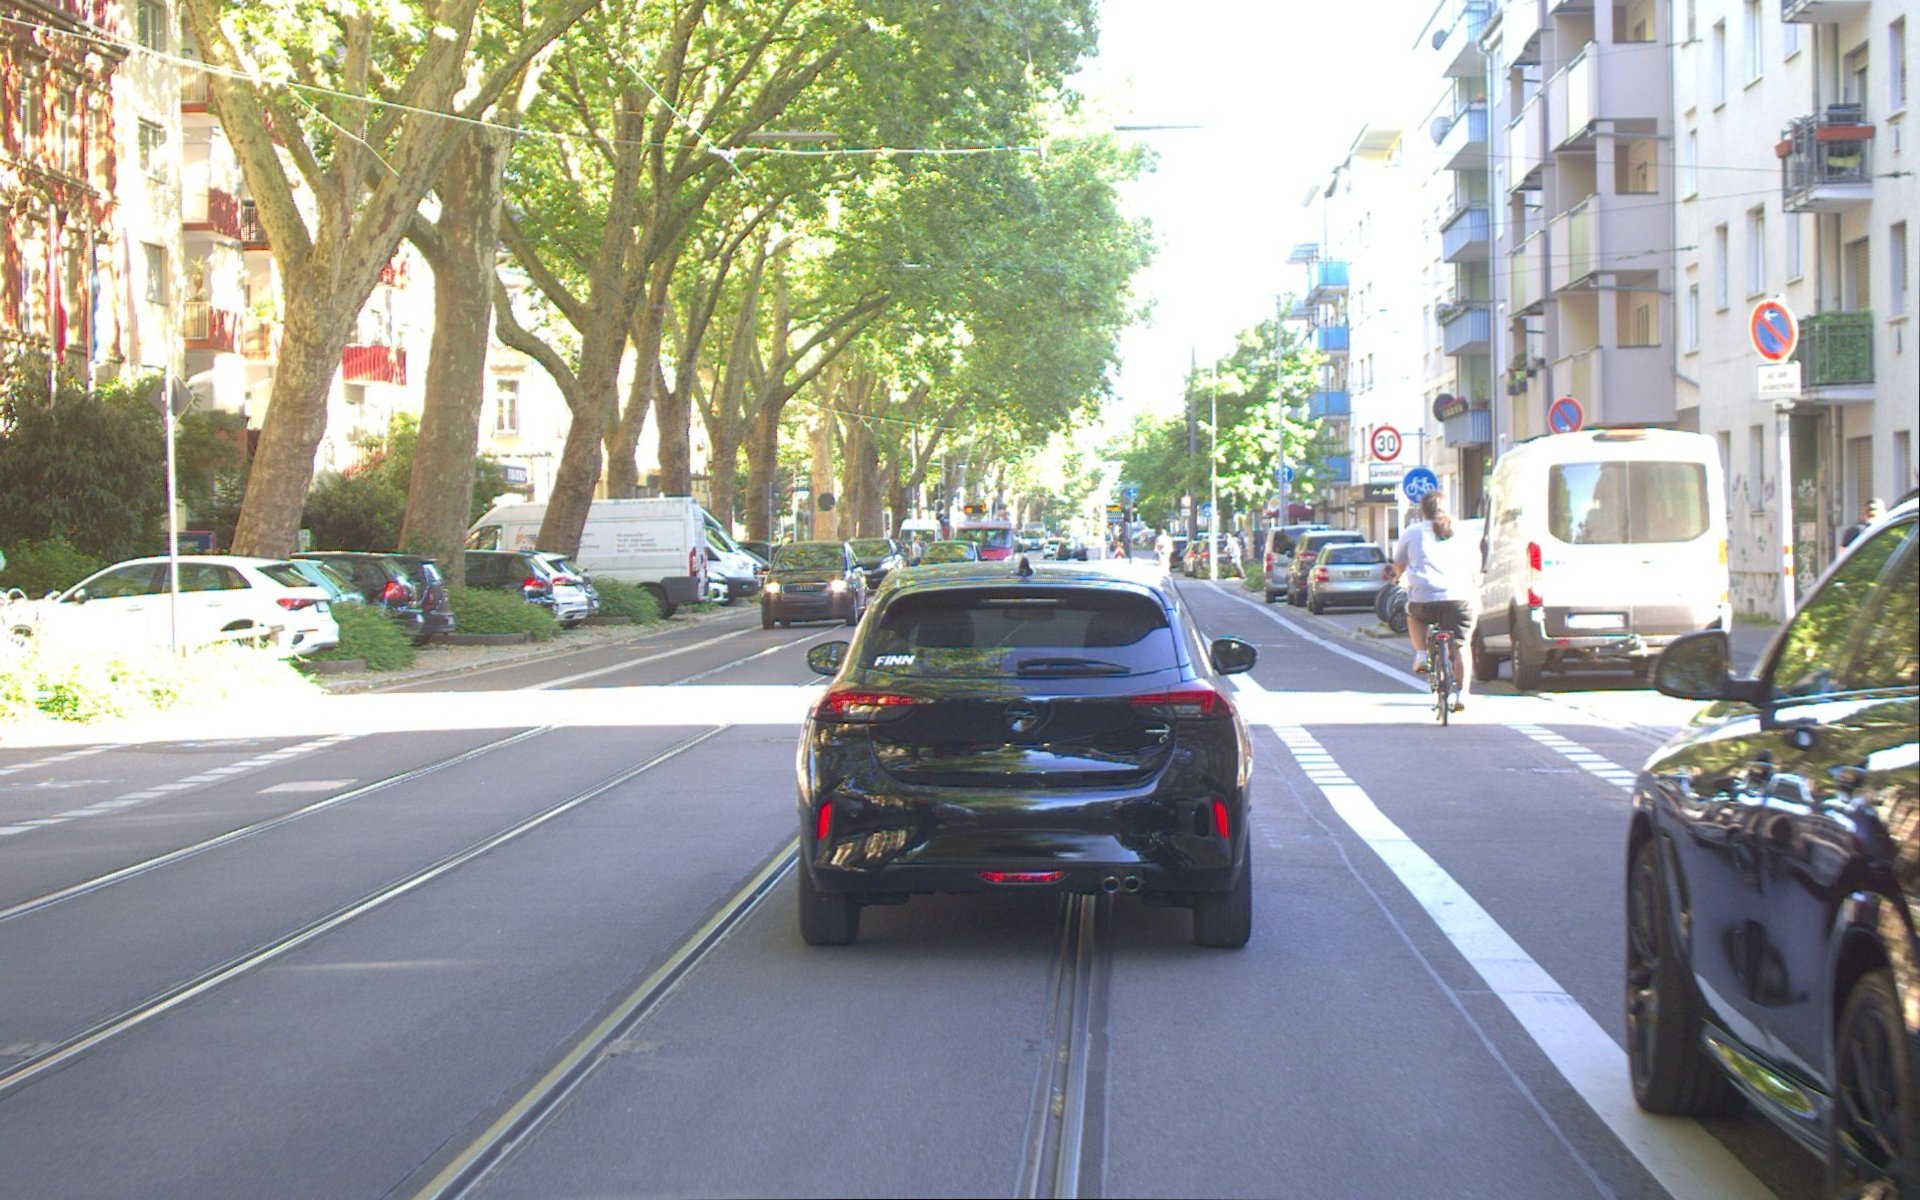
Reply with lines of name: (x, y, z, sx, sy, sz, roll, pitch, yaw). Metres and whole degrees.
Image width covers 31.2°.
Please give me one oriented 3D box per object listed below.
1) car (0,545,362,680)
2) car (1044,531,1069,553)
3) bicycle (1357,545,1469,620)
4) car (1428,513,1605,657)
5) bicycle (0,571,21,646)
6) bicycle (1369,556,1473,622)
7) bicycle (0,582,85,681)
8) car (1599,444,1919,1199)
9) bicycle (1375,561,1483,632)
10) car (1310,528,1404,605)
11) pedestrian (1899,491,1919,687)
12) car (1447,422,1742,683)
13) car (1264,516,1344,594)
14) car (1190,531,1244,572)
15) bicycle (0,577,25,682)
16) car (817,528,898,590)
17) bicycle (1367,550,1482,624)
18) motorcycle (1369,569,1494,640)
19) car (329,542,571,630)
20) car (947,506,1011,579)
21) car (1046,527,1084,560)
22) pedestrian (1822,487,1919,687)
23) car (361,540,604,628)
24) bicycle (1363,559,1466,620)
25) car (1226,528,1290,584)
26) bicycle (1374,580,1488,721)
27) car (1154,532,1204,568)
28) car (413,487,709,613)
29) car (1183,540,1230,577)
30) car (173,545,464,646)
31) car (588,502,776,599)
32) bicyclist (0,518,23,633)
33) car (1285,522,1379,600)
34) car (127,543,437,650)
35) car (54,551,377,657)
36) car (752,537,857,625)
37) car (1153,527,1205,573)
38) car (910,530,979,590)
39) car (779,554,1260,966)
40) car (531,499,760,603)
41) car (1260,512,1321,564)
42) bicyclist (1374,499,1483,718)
car: (-9.093, 0.150, 39.732, 3.987, 1.455, 1.879, -1, 0, 2)
car: (6.654, -3.990, 236.695, 1.680, 1.417, 3.627, 1, 1, 2)
bicycle: (7.727, -0.297, 58.664, 1.823, 1.187, 0.457, -2, 1, 3)
car: (7.361, -0.231, 45.824, 1.858, 1.814, 4.351, -1, 1, 3)
bicycle: (-15.076, 0.137, 52.811, 0.742, 1.135, 1.780, 0, 1, 2)
bicycle: (7.719, -0.183, 57.632, 1.653, 1.017, 0.457, -2, 1, 3)
bicycle: (-10.377, 0.331, 37.294, 1.804, 1.040, 0.596, 0, 1, 30)
car: (2.649, 0.556, 7.435, 1.944, 1.698, 4.630, 0, 1, 4)
bicycle: (7.514, -0.062, 55.108, 1.653, 1.051, 0.457, -2, 1, 3)
car: (8.171, -0.720, 71.002, 1.724, 1.520, 4.512, -1, 1, 4)
pedestrian: (9.215, -0.113, 32.092, 0.625, 1.816, 1.082, -2, 0, 4)
car: (6.500, -0.497, 35.933, 2.149, 2.487, 6.088, 0, 1, 2)
car: (8.580, -1.146, 86.049, 1.859, 1.883, 4.924, -1, 1, 4)
car: (10.130, -1.915, 135.743, 1.718, 1.568, 4.085, -1, 1, -1)
bicycle: (-10.816, 0.312, 36.115, 1.920, 1.084, 0.597, 0, 1, 21)
car: (-2.967, -1.211, 100.503, 1.994, 1.694, 4.484, -2, 1, 2)
bicycle: (7.685, -0.216, 56.934, 1.794, 1.144, 0.704, -2, 1, 3)
motorcycle: (7.436, 0.068, 54.242, 1.821, 1.076, 0.616, -1, 1, 26)
car: (-8.635, -0.245, 58.395, 3.794, 1.455, 1.704, 0, 1, 4)
car: (0.615, -1.812, 107.572, 1.917, 2.219, 4.960, -1, 1, 1)
car: (5.421, -2.929, 177.143, 1.750, 1.646, 4.000, -1, 1, 4)
pedestrian: (8.544, -0.124, 32.139, 0.709, 1.816, 1.082, -2, 0, 4)
car: (-8.451, -0.294, 61.029, 3.987, 1.491, 1.830, -1, 1, 3)
bicycle: (7.684, -0.180, 58.178, 1.653, 0.963, 0.457, -2, 1, 3)
car: (8.954, -1.342, 103.537, 1.859, 1.646, 4.000, -1, 1, 4)
bicycle: (3.830, 0.394, 28.058, 0.701, 1.088, 1.990, 1, 1, 2)
car: (10.222, -2.342, 160.634, 1.993, 1.634, 4.000, -1, 1, -1)
car: (-8.138, -1.039, 70.464, 5.741, 2.527, 2.162, 0, 1, 3)
car: (10.172, -1.704, 141.916, 1.718, 1.485, 3.682, -1, 1, 1)
car: (-9.639, -0.082, 51.788, 3.987, 1.455, 1.704, -1, 1, 5)
car: (-7.562, -1.358, 93.736, 4.943, 2.559, 2.082, -1, 1, 0)
bicyclist: (-15.015, -0.381, 52.957, 0.830, 1.757, 1.048, 0, 1, 2)
car: (8.395, -0.909, 77.922, 1.767, 1.699, 4.283, -1, 1, 2)
car: (-9.625, -0.055, 48.999, 3.987, 1.455, 1.770, -1, 1, 5)
car: (-10.107, 0.046, 46.824, 3.987, 1.364, 1.605, -1, 1, 5)
car: (-2.740, -0.366, 61.140, 1.635, 1.504, 3.692, -1, 1, 1)
car: (8.184, -1.878, 128.188, 1.859, 1.646, 4.000, -1, 1, 4)
car: (-0.388, -1.044, 89.390, 1.718, 1.504, 3.723, -1, 1, 1)
car: (0.272, 0.541, 13.965, 1.680, 1.417, 3.627, 1, 1, 2)
car: (-7.745, -1.218, 84.985, 5.360, 2.469, 2.057, -1, 1, 3)
car: (10.666, -2.007, 111.124, 1.859, 1.646, 4.000, -1, 1, 4)
bicyclist: (3.814, 0.063, 28.063, 0.786, 1.753, 0.914, 0, 1, 2)
